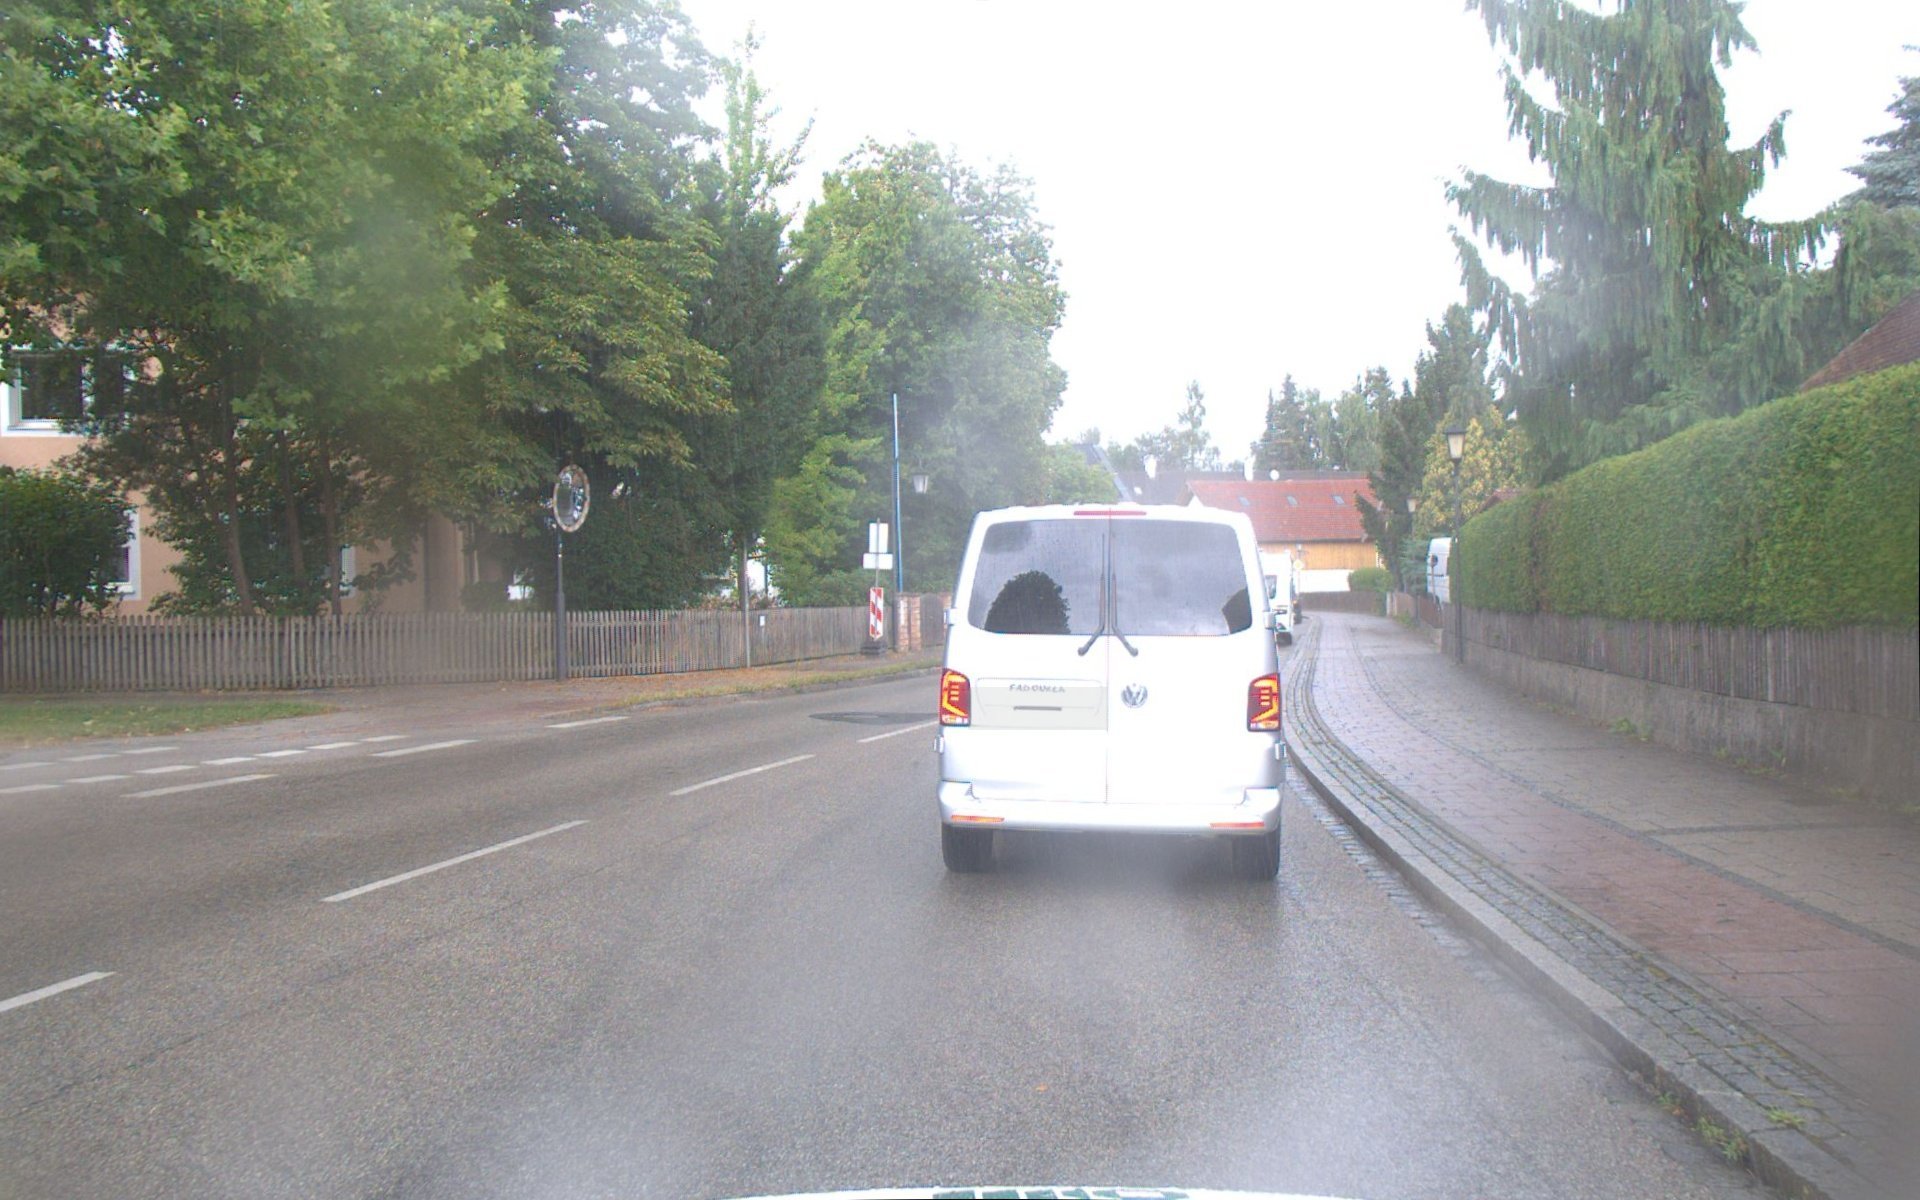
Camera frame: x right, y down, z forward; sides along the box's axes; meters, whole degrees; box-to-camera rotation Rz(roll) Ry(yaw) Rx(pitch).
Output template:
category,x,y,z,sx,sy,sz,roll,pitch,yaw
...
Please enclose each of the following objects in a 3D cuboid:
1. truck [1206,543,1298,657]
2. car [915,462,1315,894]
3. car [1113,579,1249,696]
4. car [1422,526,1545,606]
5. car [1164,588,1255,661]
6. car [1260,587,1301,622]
category,x,y,z,sx,sy,sz,roll,pitch,yaw
truck,8.697,0.015,48.829,2.422,3.128,6.301,1,0,12
car,1.147,0.370,10.008,1.762,2.049,4.003,1,0,15
car,3.460,0.544,25.322,1.762,1.616,4.003,1,0,12
car,15.272,-0.935,48.519,1.953,2.211,4.952,1,0,-1
car,5.657,0.532,37.197,1.762,1.534,4.003,1,0,12
car,14.744,0.200,75.901,1.762,1.534,4.003,1,0,12
